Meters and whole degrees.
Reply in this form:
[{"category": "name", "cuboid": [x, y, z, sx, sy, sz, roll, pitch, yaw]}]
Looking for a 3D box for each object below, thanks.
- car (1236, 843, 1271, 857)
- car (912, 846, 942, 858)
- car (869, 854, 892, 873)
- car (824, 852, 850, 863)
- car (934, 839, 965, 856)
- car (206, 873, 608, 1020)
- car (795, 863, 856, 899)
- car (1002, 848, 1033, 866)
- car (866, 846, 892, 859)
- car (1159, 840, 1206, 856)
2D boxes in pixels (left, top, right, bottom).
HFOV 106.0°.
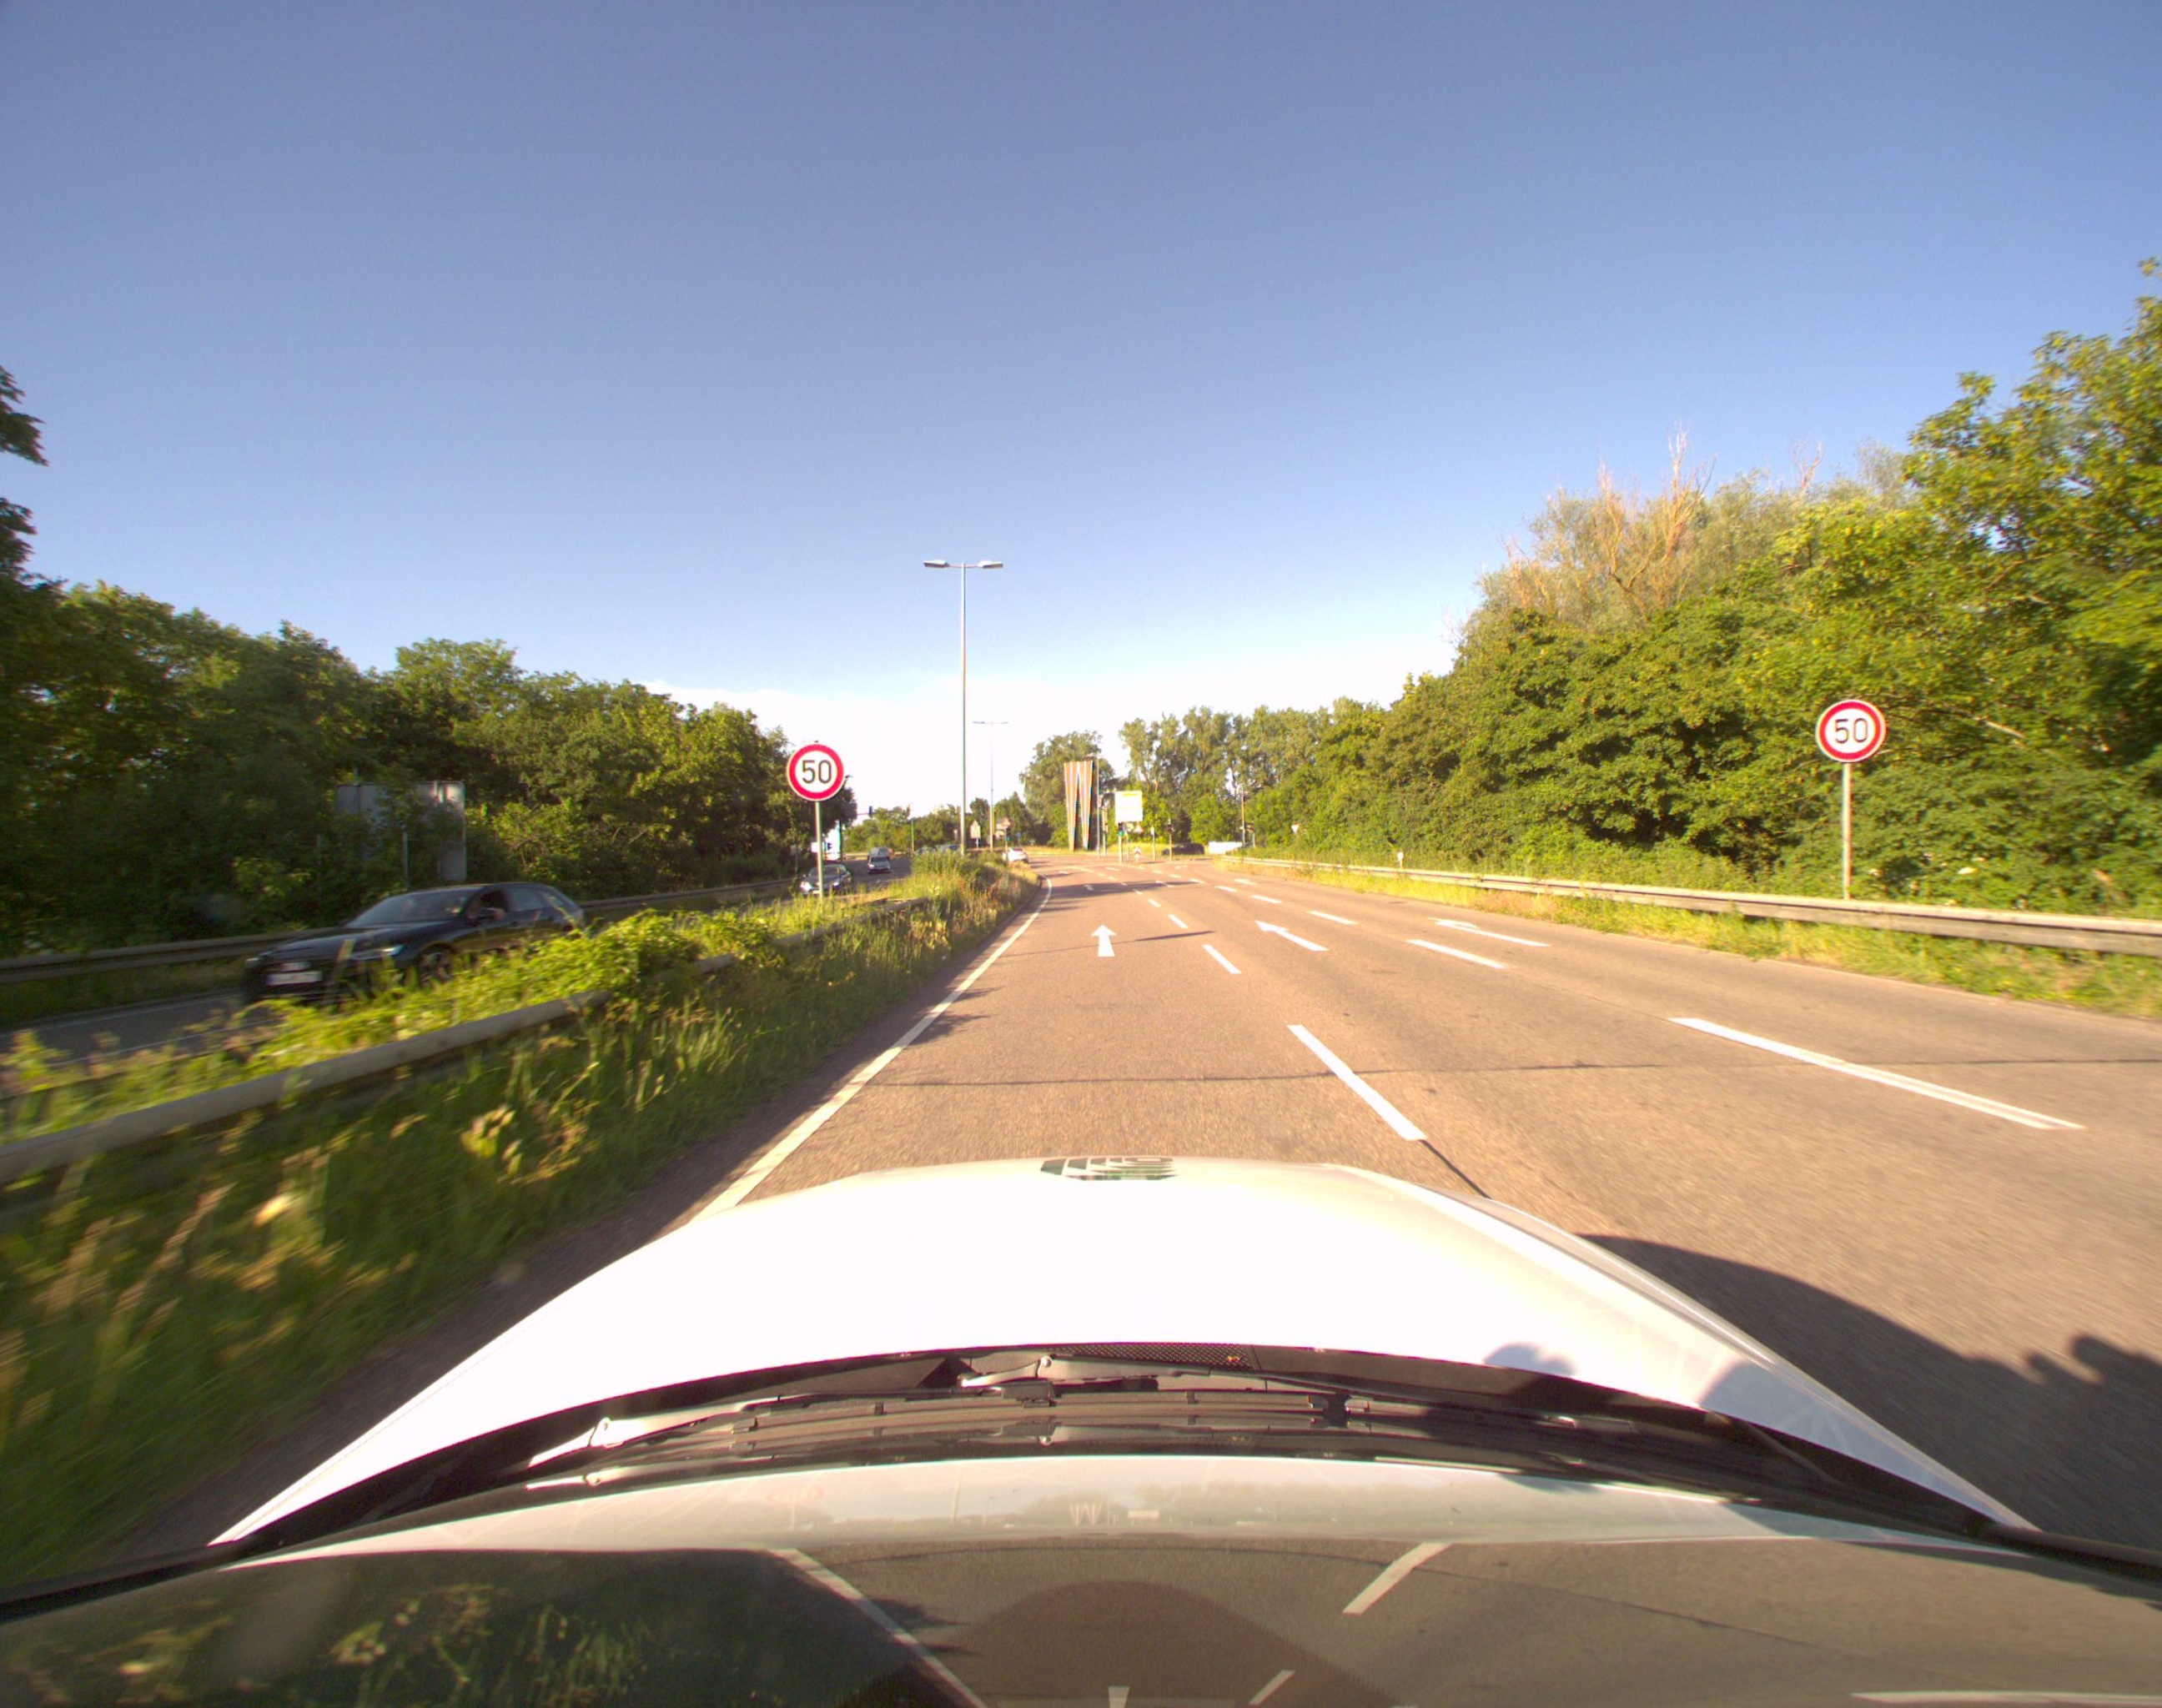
[{"category": "car", "cuboid": [19.588, -0.478, 92.517, 3.681, 1.387, 1.609, -2, 0, -2]}, {"category": "car", "cuboid": [-20.758, -0.234, 109.558, 1.987, 1.474, 4.104, -3, 2, -43]}, {"category": "car", "cuboid": [-17.626, 0.835, 71.564, 1.888, 1.520, 4.196, -3, 1, -15]}, {"category": "car", "cuboid": [-38.387, 0.551, 128.209, 3.950, 1.508, 2.287, -2, 0, 44]}, {"category": "car", "cuboid": [-15.675, -0.806, 97.035, 2.008, 1.879, 4.205, -3, 1, -33]}, {"category": "car", "cuboid": [-8.846, 1.088, 11.371, 1.800, 1.416, 4.530, -3, 0, -1]}, {"category": "car", "cuboid": [-11.927, 1.200, 38.282, 1.884, 1.420, 4.353, -4, 0, -7]}, {"category": "car", "cuboid": [-6.112, 0.241, 78.300, 1.999, 1.640, 4.103, -2, 1, -18]}, {"category": "car", "cuboid": [-28.061, -0.201, 113.185, 1.985, 1.698, 3.954, -3, 2, -39]}, {"category": "car", "cuboid": [10.532, -0.609, 84.392, 4.454, 1.464, 1.995, -2, 1, -8]}]
